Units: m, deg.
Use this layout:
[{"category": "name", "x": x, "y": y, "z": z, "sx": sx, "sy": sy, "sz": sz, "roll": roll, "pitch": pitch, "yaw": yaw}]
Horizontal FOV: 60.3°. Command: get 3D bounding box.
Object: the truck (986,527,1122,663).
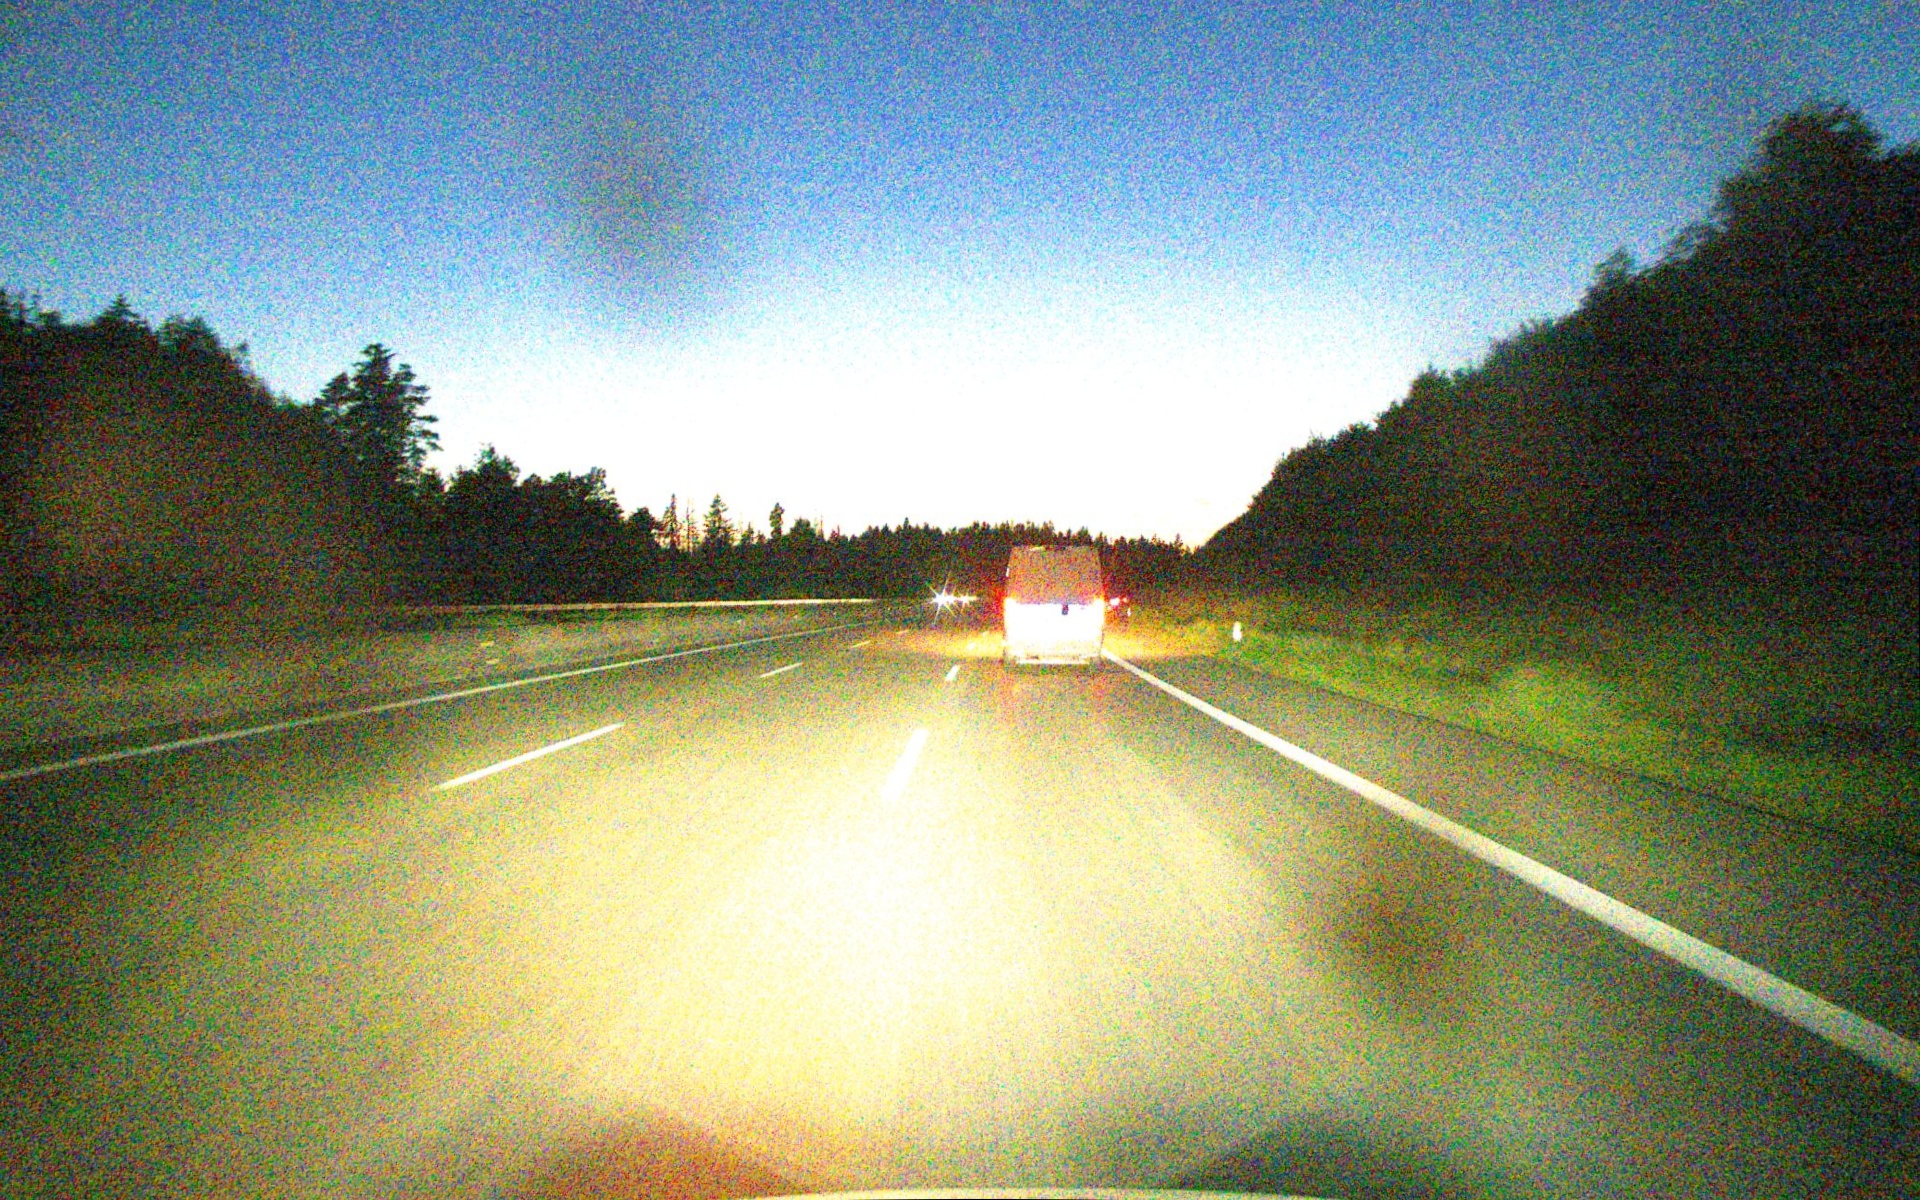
[{"category": "truck", "x": 1.920, "y": -0.058, "z": 36.985, "sx": 2.576, "sy": 2.670, "sz": 8.684, "roll": 0, "pitch": 0, "yaw": 0}]
